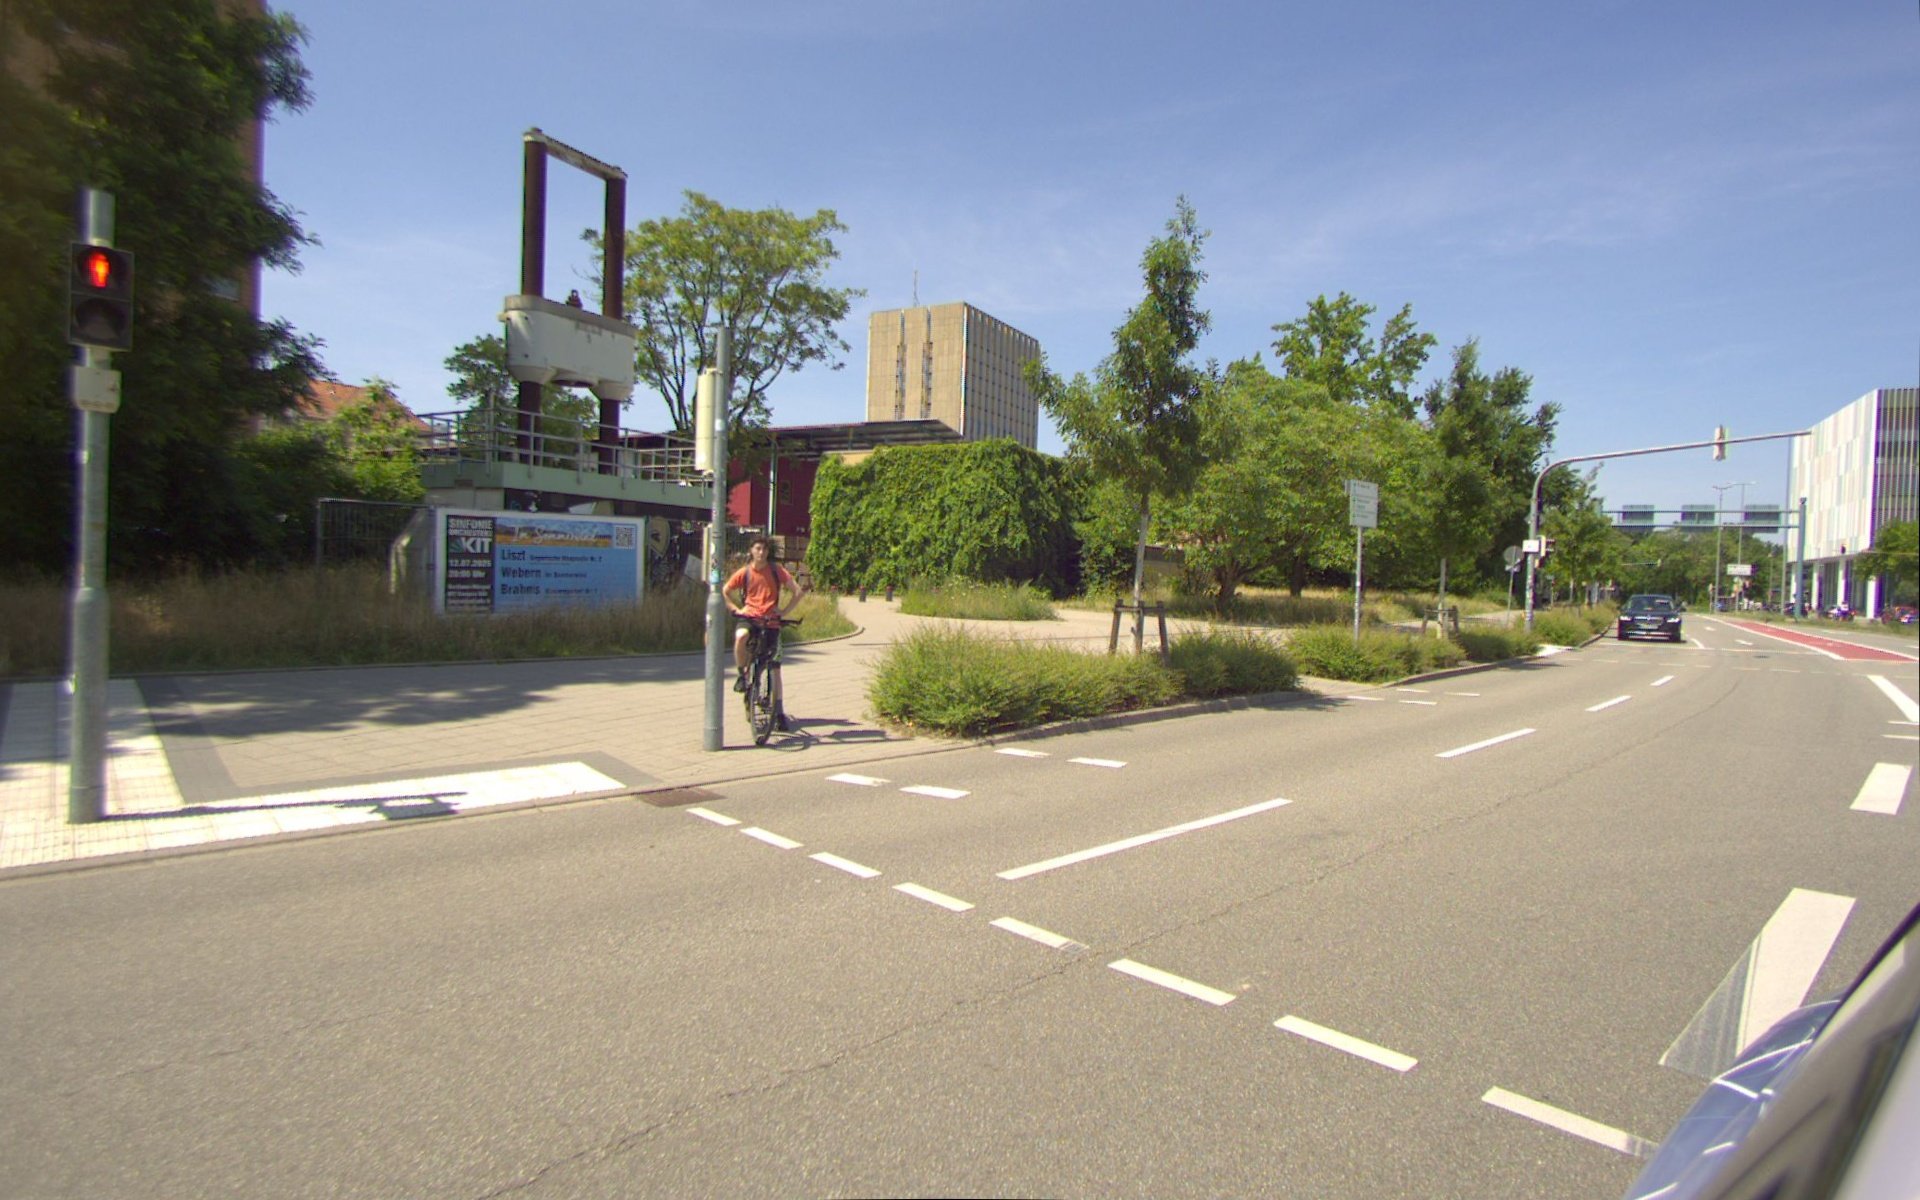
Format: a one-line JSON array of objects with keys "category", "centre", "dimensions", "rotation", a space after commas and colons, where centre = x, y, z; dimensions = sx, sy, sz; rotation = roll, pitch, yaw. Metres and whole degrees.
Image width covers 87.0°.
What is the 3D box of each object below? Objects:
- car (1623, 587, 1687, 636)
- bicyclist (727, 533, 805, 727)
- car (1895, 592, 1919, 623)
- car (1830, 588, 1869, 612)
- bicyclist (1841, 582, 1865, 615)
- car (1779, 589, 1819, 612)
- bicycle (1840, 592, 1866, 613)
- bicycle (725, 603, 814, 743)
[{"category": "car", "centre": [25.237, 0.446, 36.700], "dimensions": [1.700, 1.606, 4.494], "rotation": [3, 0, 37]}, {"category": "bicyclist", "centre": [-1.830, 0.267, 9.496], "dimensions": [0.540, 1.737, 0.705], "rotation": [3, 1, -18]}, {"category": "car", "centre": [68.560, 0.577, 72.126], "dimensions": [1.985, 2.039, 4.164], "rotation": [3, 0, 32]}, {"category": "car", "centre": [70.816, 0.013, 80.609], "dimensions": [1.770, 1.705, 3.950], "rotation": [3, 0, 34]}, {"category": "bicyclist", "centre": [54.818, -0.085, 62.114], "dimensions": [0.701, 1.911, 1.130], "rotation": [3, -1, 22]}, {"category": "car", "centre": [68.225, 0.083, 82.318], "dimensions": [1.764, 1.689, 3.956], "rotation": [3, 0, 30]}, {"category": "bicycle", "centre": [54.847, 0.162, 62.164], "dimensions": [0.515, 1.252, 2.174], "rotation": [3, 0, 23]}, {"category": "bicycle", "centre": [-1.815, 0.620, 9.421], "dimensions": [0.547, 1.058, 2.002], "rotation": [3, 2, -17]}]
